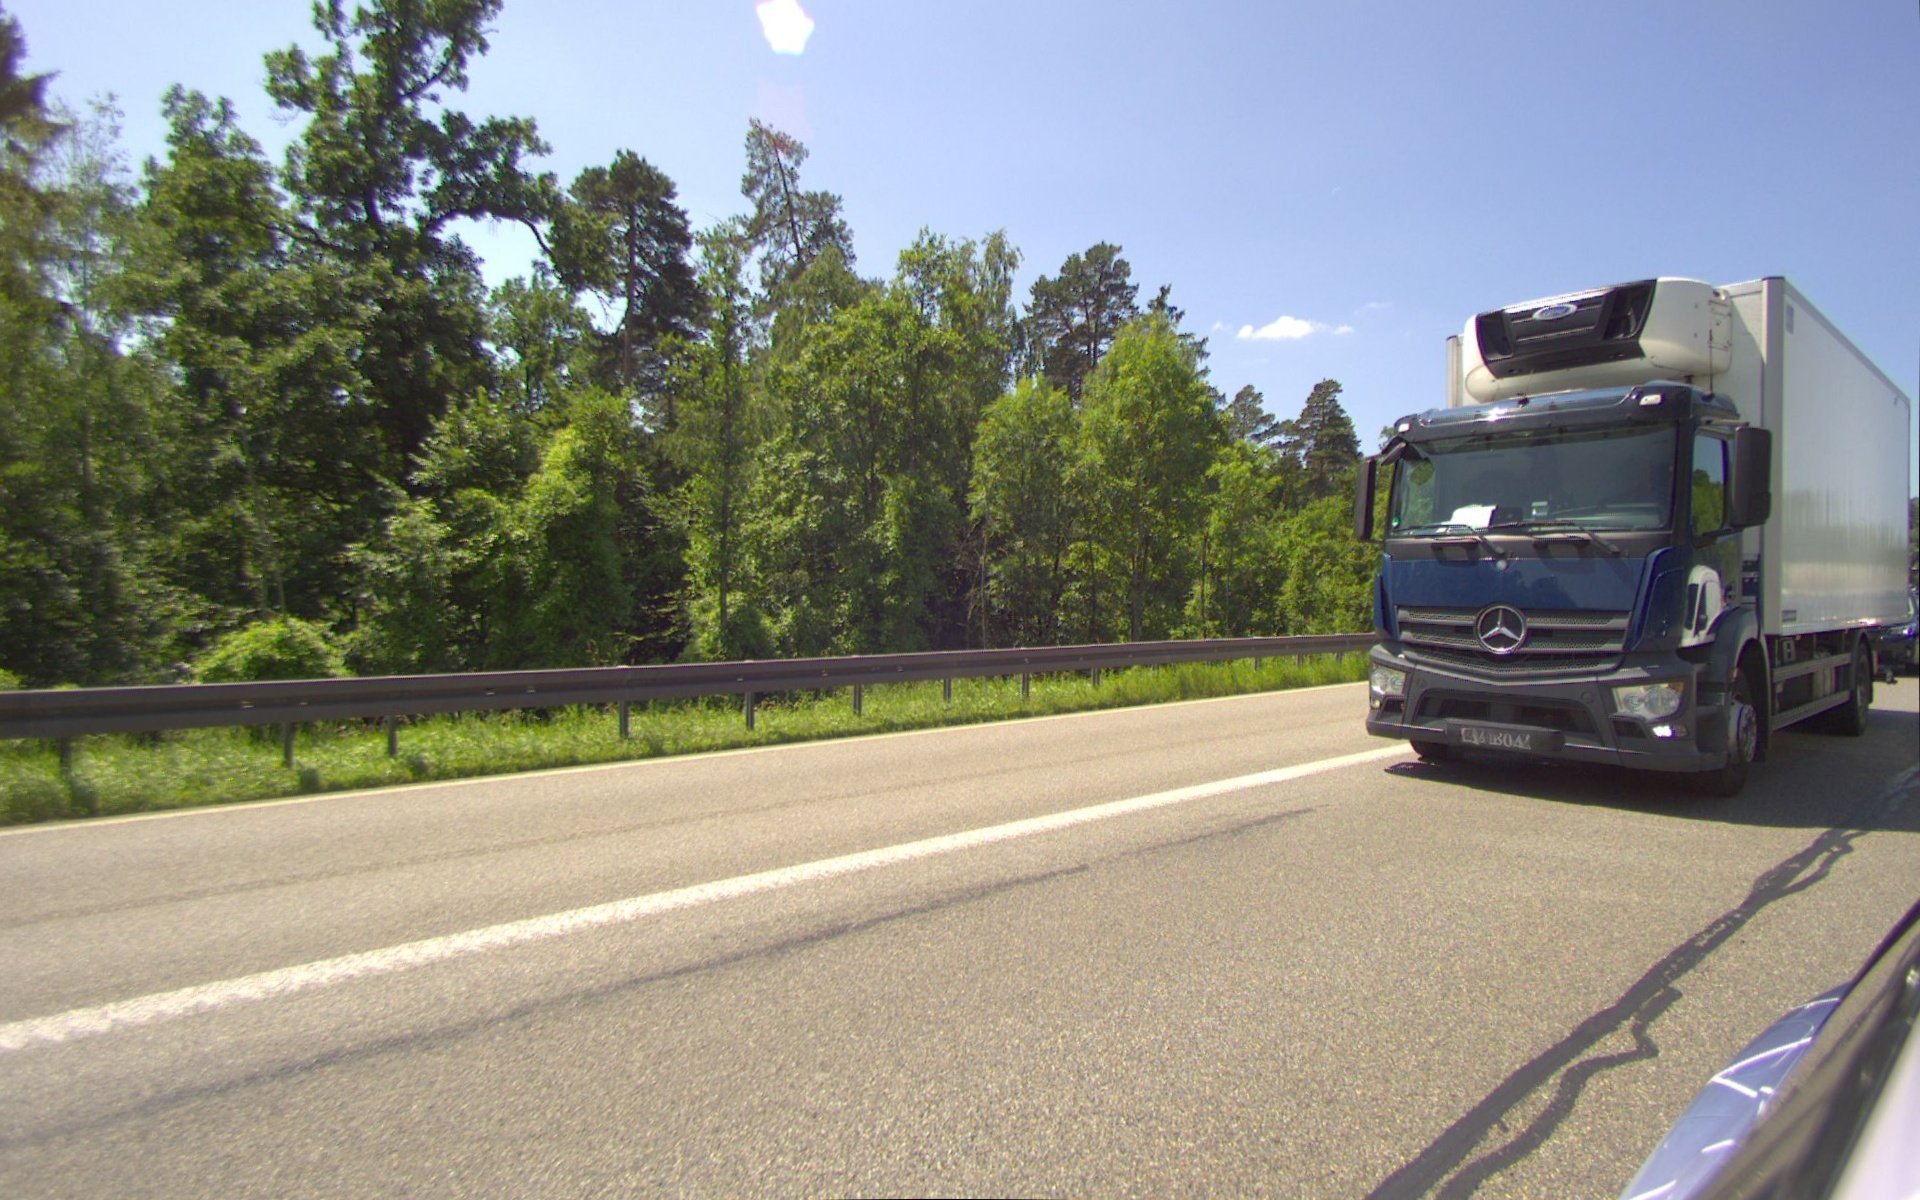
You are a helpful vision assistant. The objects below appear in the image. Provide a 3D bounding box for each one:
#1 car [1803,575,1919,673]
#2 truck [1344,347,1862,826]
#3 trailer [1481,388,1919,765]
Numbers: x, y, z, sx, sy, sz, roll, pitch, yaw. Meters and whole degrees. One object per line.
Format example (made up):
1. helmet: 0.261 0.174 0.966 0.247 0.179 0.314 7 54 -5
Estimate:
1. car: 18.546 0.385 20.252 4.534 1.713 1.996 -2 3 -43
2. truck: 5.510 -0.164 8.577 4.031 2.976 2.562 -2 2 -39
3. trailer: 8.874 -0.241 11.333 7.741 2.935 2.561 -1 1 -39
